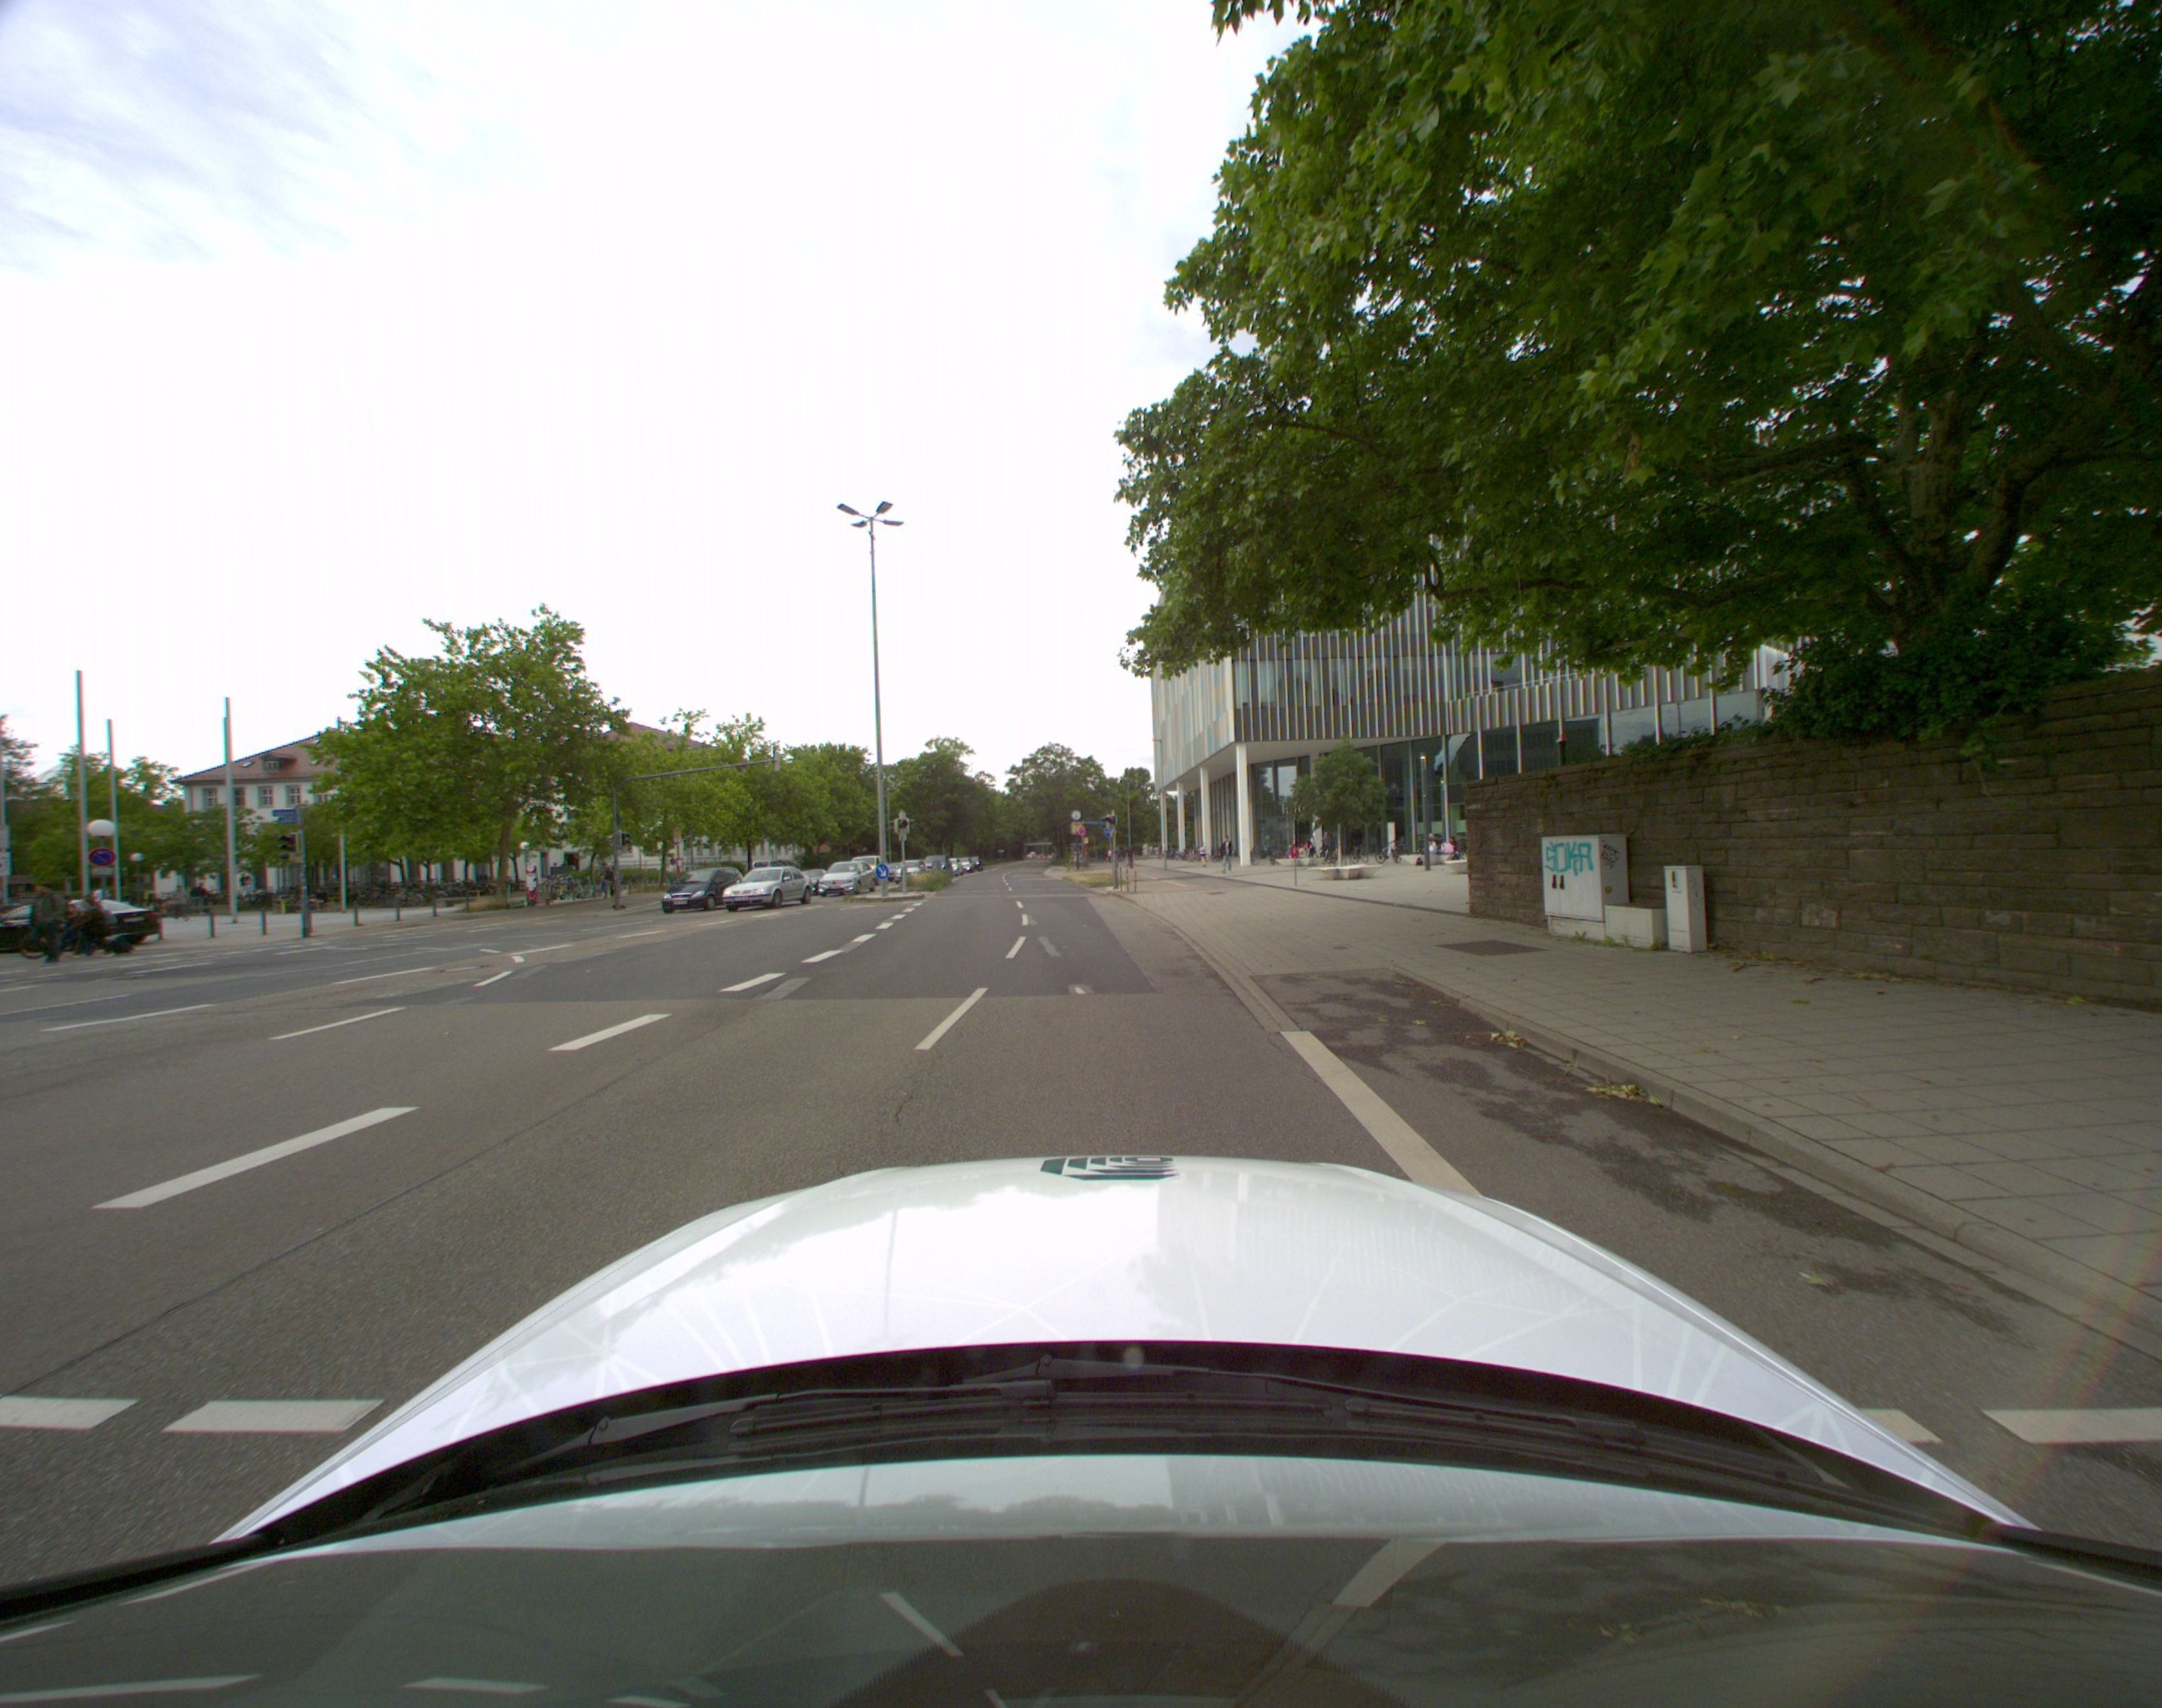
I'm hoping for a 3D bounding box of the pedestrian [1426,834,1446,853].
[{"bbox_3d":[15.554,-0.453,35.687,0.629,0.823,0.736,-3,-1,14],"label":"pedestrian"}]

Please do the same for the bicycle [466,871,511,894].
[{"bbox_3d":[-44.009,2.104,60.500,3.055,1.559,0.926,-2,0,15],"label":"bicycle"}]

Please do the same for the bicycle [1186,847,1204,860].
[{"bbox_3d":[10.528,-0.029,75.238,1.635,1.091,0.573,-5,0,7],"label":"bicycle"}]

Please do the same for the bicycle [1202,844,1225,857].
[{"bbox_3d":[12.253,-0.317,75.376,1.962,1.144,0.652,-4,1,40],"label":"bicycle"}]

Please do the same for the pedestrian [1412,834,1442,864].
[{"bbox_3d":[14.633,-0.209,34.464,0.905,1.257,0.879,0,0,1],"label":"pedestrian"}]

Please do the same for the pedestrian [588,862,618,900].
[{"bbox_3d":[-23.494,1.329,40.044,0.893,1.803,0.934,-3,0,-5],"label":"pedestrian"}]

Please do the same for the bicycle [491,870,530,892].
[{"bbox_3d":[-43.657,2.040,62.340,2.638,1.559,0.926,-2,0,15],"label":"bicycle"}]

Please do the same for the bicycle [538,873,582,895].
[{"bbox_3d":[-30.783,1.781,48.160,2.036,1.153,0.717,-3,0,-20],"label":"bicycle"}]

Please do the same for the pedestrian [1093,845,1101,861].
[{"bbox_3d":[2.095,-0.132,108.470,0.924,2.013,1.037,-3,0,-6],"label":"pedestrian"}]

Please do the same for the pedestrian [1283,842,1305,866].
[{"bbox_3d":[11.512,0.000,44.011,0.834,1.206,0.900,-2,0,33],"label":"pedestrian"}]

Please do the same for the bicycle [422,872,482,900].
[{"bbox_3d":[-37.649,1.907,48.758,2.660,1.559,0.919,-2,0,-12],"label":"bicycle"}]

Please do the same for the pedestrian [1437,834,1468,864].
[{"bbox_3d":[15.785,-0.220,34.621,0.905,1.257,0.879,0,0,1],"label":"pedestrian"}]

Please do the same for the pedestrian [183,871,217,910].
[{"bbox_3d":[-47.391,1.971,43.826,0.890,2.013,0.796,-3,0,6],"label":"pedestrian"}]

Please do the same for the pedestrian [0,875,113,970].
[{"bbox_3d":[-23.255,1.518,18.513,1.184,2.013,1.134,0,0,-21],"label":"pedestrian"}]

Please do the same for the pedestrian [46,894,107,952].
[{"bbox_3d":[-26.770,1.813,21.722,0.702,1.428,0.991,0,0,-29],"label":"pedestrian"}]

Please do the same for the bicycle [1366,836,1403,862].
[{"bbox_3d":[16.998,-0.270,45.546,2.011,1.305,0.641,-4,2,-23],"label":"bicycle"}]

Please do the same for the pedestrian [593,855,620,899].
[{"bbox_3d":[-22.529,1.079,38.656,0.801,2.013,0.923,0,0,-8],"label":"pedestrian"}]

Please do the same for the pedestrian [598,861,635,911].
[{"bbox_3d":[-19.315,1.320,33.889,0.892,2.013,1.008,-2,0,-3],"label":"pedestrian"}]

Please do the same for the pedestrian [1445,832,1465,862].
[{"bbox_3d":[16.017,-0.301,34.888,0.642,1.278,0.647,-1,0,12],"label":"pedestrian"}]

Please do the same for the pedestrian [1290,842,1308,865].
[{"bbox_3d":[11.946,-0.048,44.622,0.885,1.193,0.848,-2,0,12],"label":"pedestrian"}]

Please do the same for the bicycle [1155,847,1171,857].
[{"bbox_3d":[9.732,-0.271,96.627,1.790,1.082,0.625,-5,0,-3],"label":"bicycle"}]

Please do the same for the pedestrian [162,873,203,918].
[{"bbox_3d":[-42.515,1.946,38.560,0.795,2.013,1.090,-3,0,-18],"label":"pedestrian"}]

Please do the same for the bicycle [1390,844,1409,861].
[{"bbox_3d":[17.375,-0.077,44.442,0.389,0.899,1.482,-3,0,44],"label":"bicycle"}]

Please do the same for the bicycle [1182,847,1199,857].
[{"bbox_3d":[10.927,-0.175,81.330,1.683,0.947,0.517,-2,0,5],"label":"bicycle"}]

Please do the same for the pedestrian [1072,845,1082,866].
[{"bbox_3d":[-0.421,0.145,85.148,0.910,2.013,0.853,-4,2,-3],"label":"pedestrian"}]

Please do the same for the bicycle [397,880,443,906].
[{"bbox_3d":[-43.080,2.552,53.075,2.638,1.559,0.926,-2,0,15],"label":"bicycle"}]

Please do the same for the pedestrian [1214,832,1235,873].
[{"bbox_3d":[7.293,-0.071,41.431,0.840,2.013,0.894,-2,0,0],"label":"pedestrian"}]

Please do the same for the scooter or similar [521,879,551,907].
[{"bbox_3d":[-23.633,1.665,35.342,0.359,1.140,1.319,-3,0,-1],"label":"scooter or similar"}]

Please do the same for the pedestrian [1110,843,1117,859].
[{"bbox_3d":[4.323,-0.407,108.580,0.822,2.013,0.719,-3,0,-2],"label":"pedestrian"}]

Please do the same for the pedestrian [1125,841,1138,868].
[{"bbox_3d":[3.854,0.009,62.439,0.840,2.013,0.894,-4,0,0],"label":"pedestrian"}]

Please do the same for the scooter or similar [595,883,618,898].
[{"bbox_3d":[-24.852,1.910,42.648,0.405,0.693,1.289,0,0,2],"label":"scooter or similar"}]

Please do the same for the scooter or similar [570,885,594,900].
[{"bbox_3d":[-25.151,1.920,41.065,0.405,0.693,1.289,0,0,2],"label":"scooter or similar"}]

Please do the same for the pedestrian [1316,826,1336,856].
[{"bbox_3d":[16.831,-0.891,56.064,1.174,2.062,1.138,-1,0,9],"label":"pedestrian"}]

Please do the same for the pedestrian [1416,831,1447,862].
[{"bbox_3d":[15.446,-0.324,35.925,0.909,1.367,0.875,0,0,-11],"label":"pedestrian"}]

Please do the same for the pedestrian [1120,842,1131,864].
[{"bbox_3d":[4.156,-0.133,76.311,0.840,2.013,0.894,-2,0,-2],"label":"pedestrian"}]

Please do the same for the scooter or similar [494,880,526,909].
[{"bbox_3d":[-23.628,1.672,33.720,0.359,1.140,1.319,-3,0,-1],"label":"scooter or similar"}]

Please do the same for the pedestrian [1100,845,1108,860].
[{"bbox_3d":[3.061,-0.163,108.638,0.823,2.013,0.719,-3,0,-6],"label":"pedestrian"}]

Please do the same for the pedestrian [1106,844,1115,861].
[{"bbox_3d":[3.577,-0.159,98.803,0.924,2.013,1.037,-3,0,-6],"label":"pedestrian"}]

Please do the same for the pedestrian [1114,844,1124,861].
[{"bbox_3d":[4.625,-0.203,98.838,0.924,2.013,1.037,-3,0,-6],"label":"pedestrian"}]

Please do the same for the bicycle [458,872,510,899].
[{"bbox_3d":[-37.749,1.959,51.501,2.446,1.559,0.919,-2,0,-12],"label":"bicycle"}]

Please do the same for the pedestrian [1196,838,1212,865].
[{"bbox_3d":[8.401,-0.173,55.700,0.840,1.835,0.894,-2,0,-1],"label":"pedestrian"}]
